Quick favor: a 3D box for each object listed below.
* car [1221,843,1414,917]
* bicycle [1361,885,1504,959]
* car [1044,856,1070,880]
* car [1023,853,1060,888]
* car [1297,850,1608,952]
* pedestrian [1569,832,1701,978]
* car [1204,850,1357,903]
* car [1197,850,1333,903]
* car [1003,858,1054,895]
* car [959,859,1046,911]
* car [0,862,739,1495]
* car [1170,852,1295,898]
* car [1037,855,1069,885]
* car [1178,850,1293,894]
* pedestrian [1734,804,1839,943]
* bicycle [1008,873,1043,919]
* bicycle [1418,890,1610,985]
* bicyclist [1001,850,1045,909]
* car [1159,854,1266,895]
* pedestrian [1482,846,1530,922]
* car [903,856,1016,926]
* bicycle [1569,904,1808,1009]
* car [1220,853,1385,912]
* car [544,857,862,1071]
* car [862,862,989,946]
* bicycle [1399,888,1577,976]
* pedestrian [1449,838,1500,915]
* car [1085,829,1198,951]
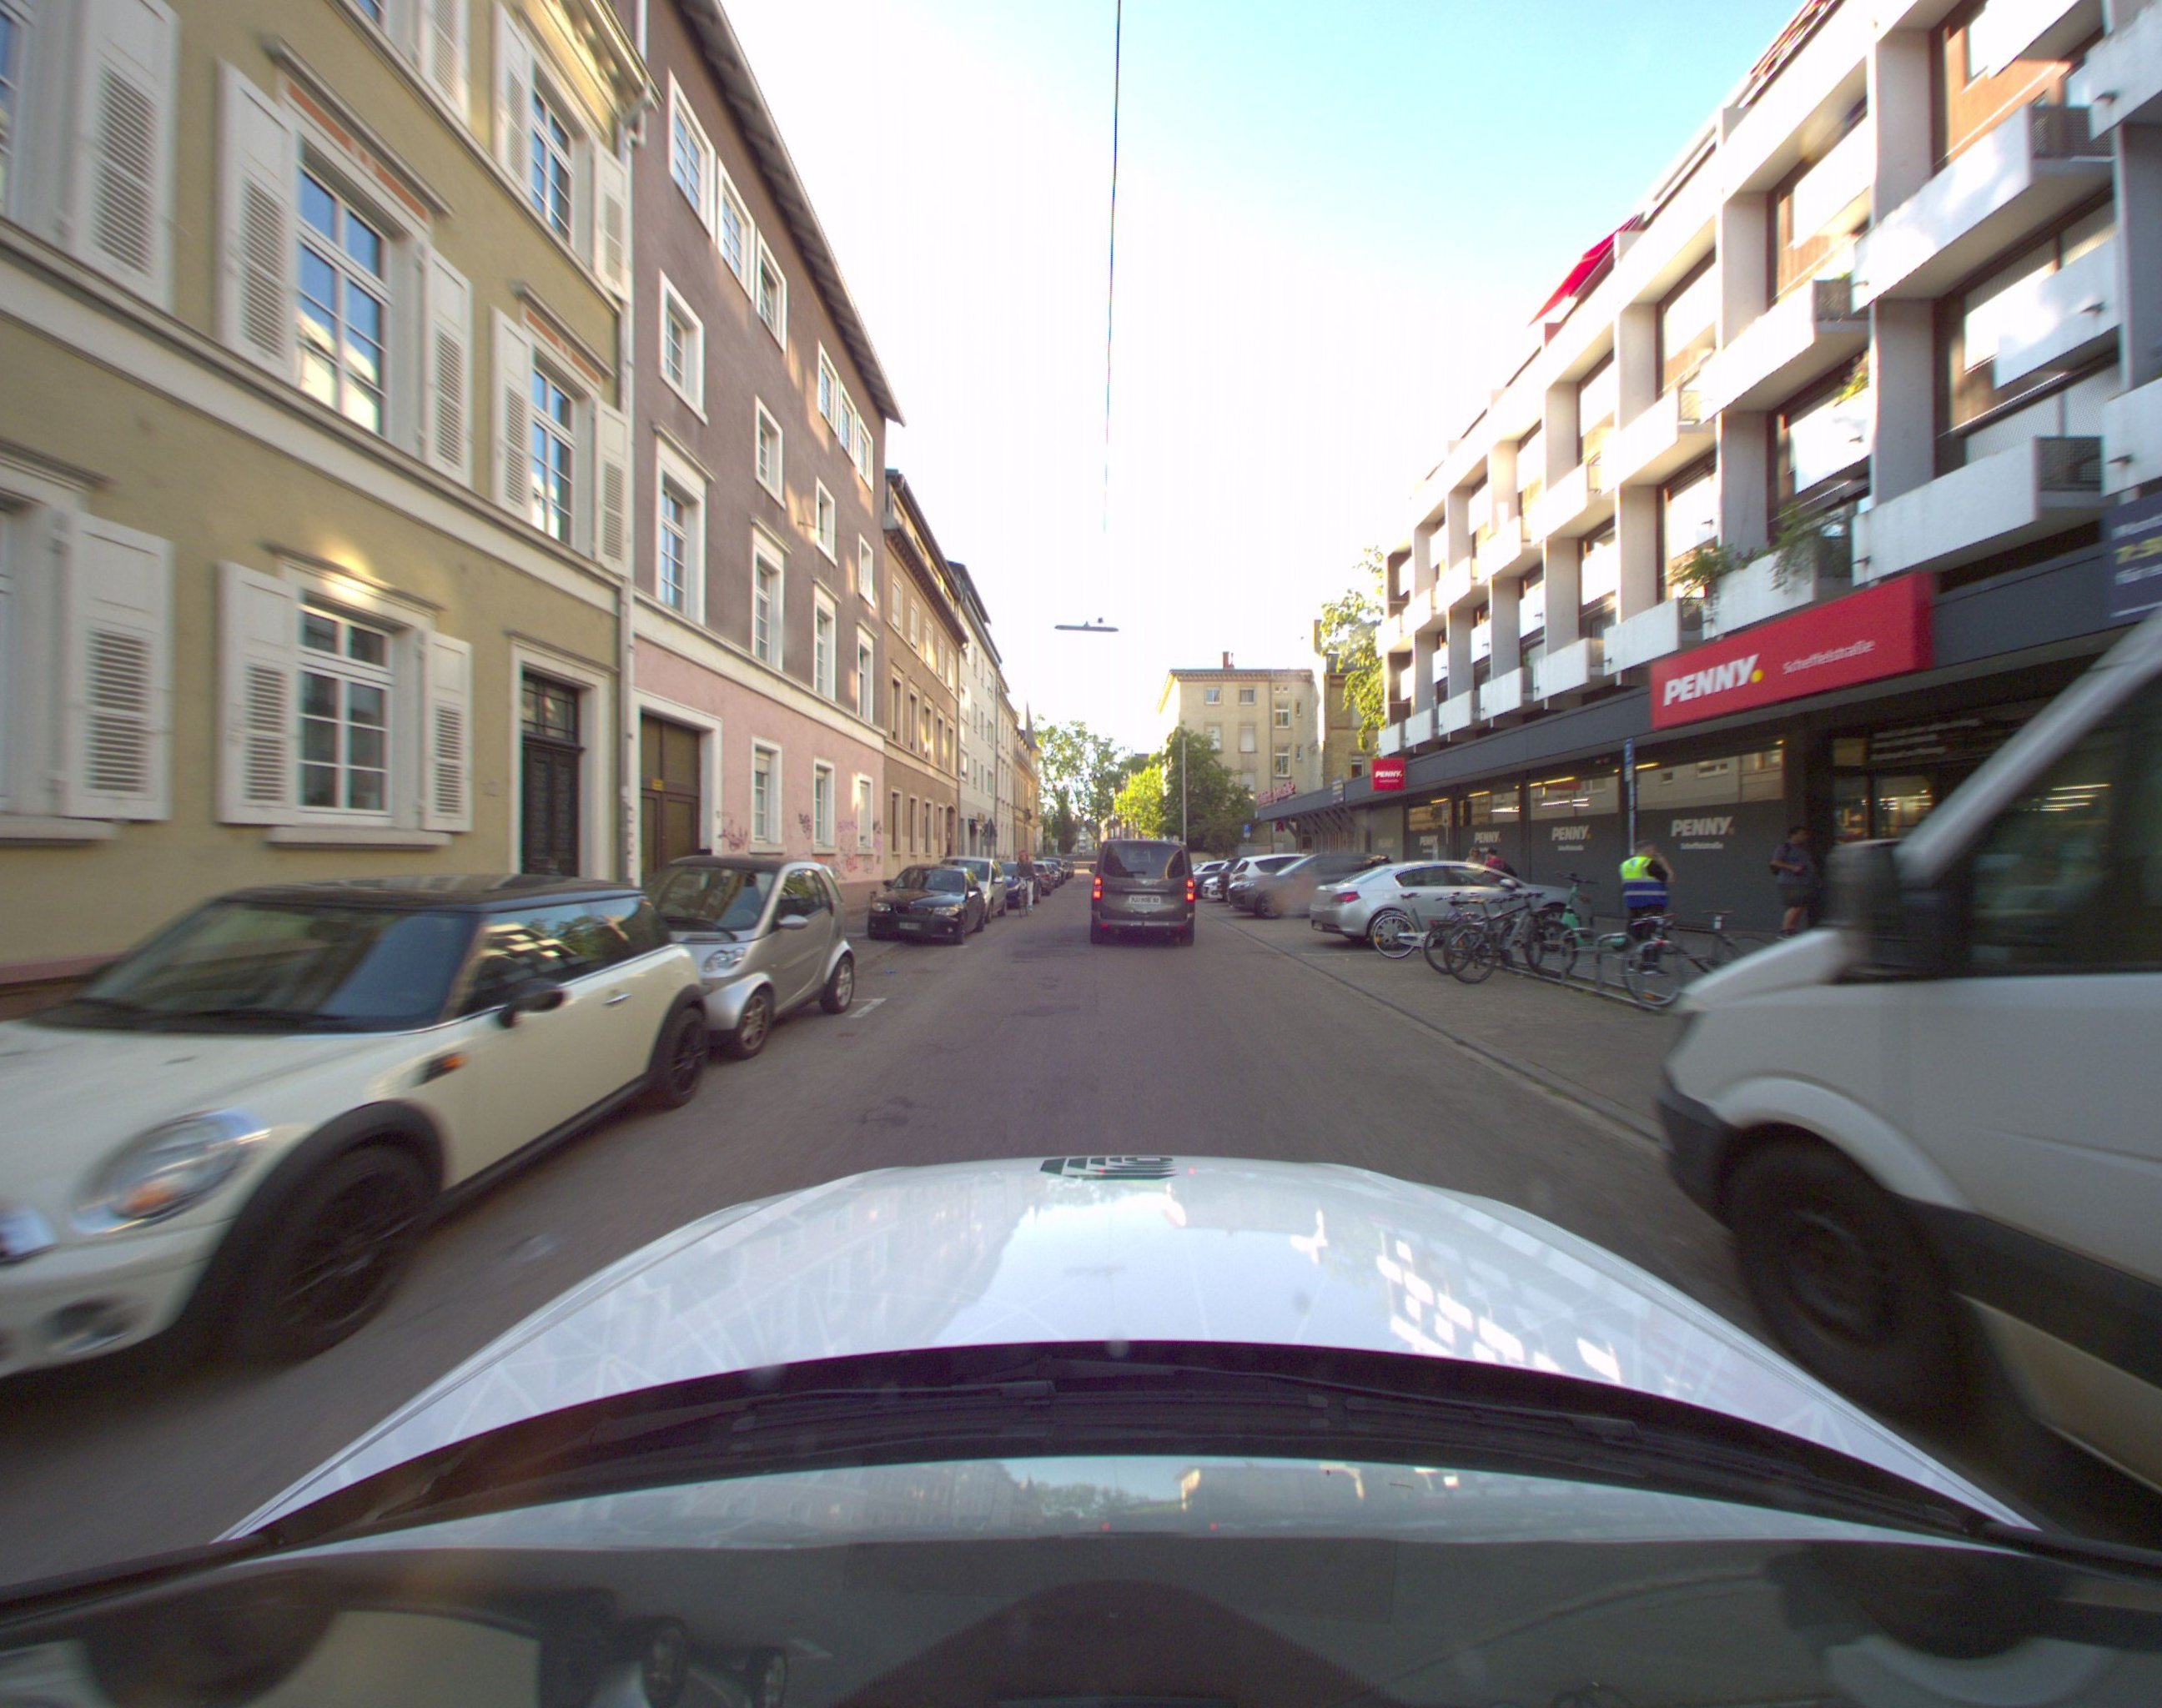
[{"bbox_3d":[6.138,0.657,21.513,4.555,1.858,2.000,0,0,0],"label":"car"},{"bbox_3d":[5.351,1.029,12.485,1.890,1.067,0.679,-1,0,4],"label":"bicycle"},{"bbox_3d":[-1.892,1.106,65.258,1.988,1.858,4.581,0,0,-2],"label":"car"},{"bbox_3d":[-2.151,0.887,45.311,1.988,1.858,4.581,0,0,-2],"label":"car"},{"bbox_3d":[6.375,0.780,14.373,4.609,1.466,1.841,-3,0,0],"label":"car"},{"bbox_3d":[6.968,0.602,10.268,0.939,1.720,1.052,-1,-1,-33],"label":"pedestrian"},{"bbox_3d":[6.572,0.727,27.118,4.564,1.705,1.996,0,0,-6],"label":"car"},{"bbox_3d":[6.599,0.791,29.498,4.467,1.858,1.881,0,0,-6],"label":"car"},{"bbox_3d":[-2.304,0.956,36.719,2.138,1.560,4.581,0,0,-2],"label":"car"},{"bbox_3d":[-2.506,0.954,27.107,1.983,1.560,4.592,0,0,6],"label":"car"},{"bbox_3d":[-3.221,0.802,3.863,1.707,1.497,3.851,0,0,-3],"label":"car"},{"bbox_3d":[5.986,0.818,32.520,4.564,1.792,1.996,0,0,-6],"label":"car"},{"bbox_3d":[-1.797,0.984,52.484,1.988,1.858,4.581,0,0,-2],"label":"car"},{"bbox_3d":[6.688,0.782,35.493,4.564,1.858,1.996,0,0,-6],"label":"car"},{"bbox_3d":[10.442,0.275,12.064,1.008,1.945,0.863,0,-1,-29],"label":"pedestrian"},{"bbox_3d":[-1.484,1.113,22.171,0.618,1.138,2.260,-1,0,4],"label":"bicycle"},{"bbox_3d":[5.345,1.010,10.101,2.038,1.048,0.723,-1,0,-6],"label":"bicycle"},{"bbox_3d":[-1.574,0.683,22.252,1.029,1.578,0.834,-1,0,5],"label":"bicyclist"},{"bbox_3d":[6.073,0.938,37.926,4.564,1.858,1.996,0,0,-6],"label":"car"},{"bbox_3d":[9.618,0.667,18.475,0.895,1.661,0.876,-1,-1,24],"label":"pedestrian"},{"bbox_3d":[-3.002,0.864,21.211,1.985,1.605,4.589,0,0,3],"label":"car"},{"bbox_3d":[6.296,1.038,8.488,2.038,0.935,0.723,-1,0,-6],"label":"bicycle"},{"bbox_3d":[6.527,0.823,24.296,4.446,1.676,1.795,0,0,-4],"label":"car"},{"bbox_3d":[-3.114,0.795,7.272,1.379,1.532,2.752,0,0,4],"label":"car"},{"bbox_3d":[-2.937,0.888,16.297,1.783,1.397,4.464,1,0,-2],"label":"car"},{"bbox_3d":[5.410,1.017,10.890,2.037,1.048,0.723,-1,0,-5],"label":"bicycle"},{"bbox_3d":[10.215,0.574,21.164,1.077,1.945,0.875,-1,-1,18],"label":"pedestrian"},{"bbox_3d":[1.148,0.618,15.863,1.850,2.013,4.004,-2,0,3],"label":"car"}]
